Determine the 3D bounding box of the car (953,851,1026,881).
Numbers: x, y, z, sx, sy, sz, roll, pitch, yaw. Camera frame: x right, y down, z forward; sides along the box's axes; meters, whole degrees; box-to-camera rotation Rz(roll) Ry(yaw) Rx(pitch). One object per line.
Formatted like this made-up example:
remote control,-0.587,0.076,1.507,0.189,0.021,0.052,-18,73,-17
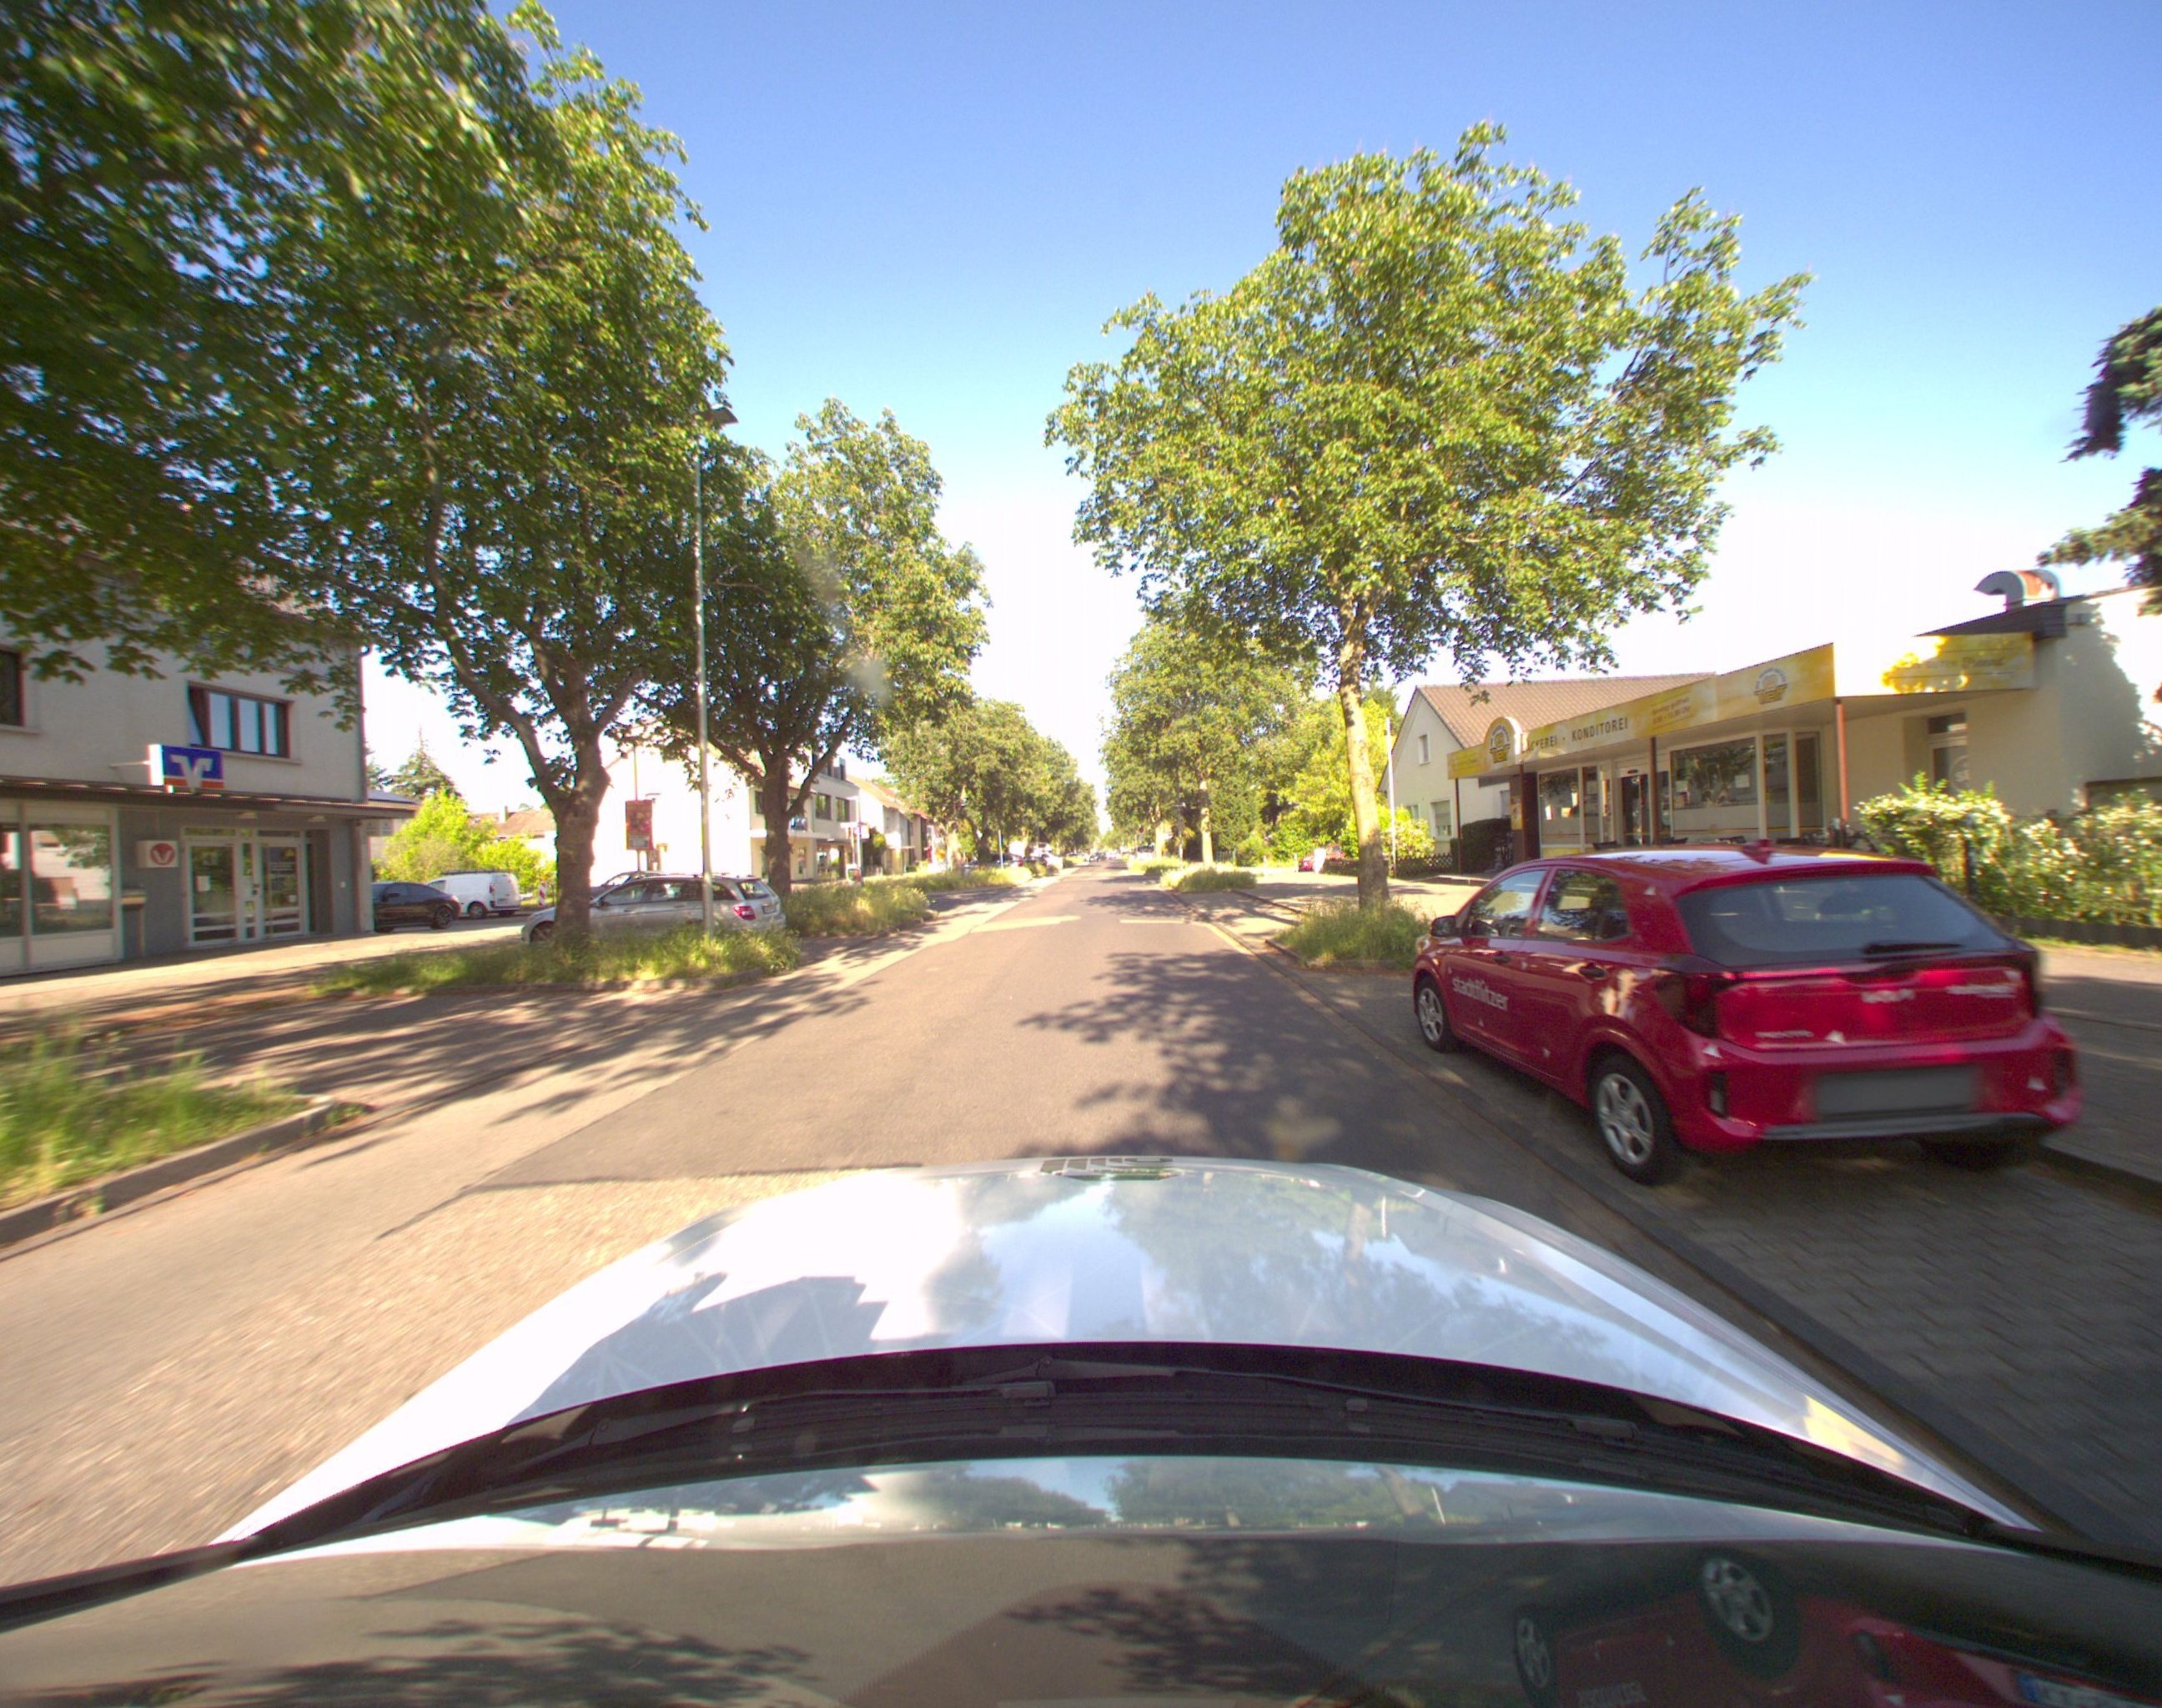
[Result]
car,-5.909,0.751,52.904,4.535,1.765,1.998,-1,2,-3

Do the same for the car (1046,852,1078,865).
car,-2.241,0.558,97.555,3.683,1.446,1.667,-1,0,5

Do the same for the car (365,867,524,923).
car,-24.967,1.576,32.075,4.543,1.927,1.999,-1,2,-2

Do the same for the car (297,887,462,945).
car,-19.683,1.701,23.060,1.535,1.237,3.512,-1,2,1

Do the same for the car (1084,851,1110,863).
car,2.393,0.410,122.253,1.974,1.643,4.026,0,2,35

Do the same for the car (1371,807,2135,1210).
car,3.324,0.617,5.155,1.690,1.479,3.891,-4,0,3

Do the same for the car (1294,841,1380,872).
car,14.329,0.120,45.752,4.270,1.609,2.002,-1,2,2

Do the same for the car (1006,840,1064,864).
car,-4.514,-0.217,80.719,5.480,2.247,2.517,-1,2,0

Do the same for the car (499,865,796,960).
car,-7.977,1.043,15.295,4.537,1.511,1.842,-1,2,1

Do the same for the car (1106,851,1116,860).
car,6.110,0.371,166.004,1.796,1.705,4.001,-1,2,1

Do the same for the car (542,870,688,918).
car,-18.333,1.545,32.213,4.543,1.617,1.999,-1,2,-2

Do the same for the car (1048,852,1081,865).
car,-1.881,0.539,94.126,3.683,1.446,1.667,-1,0,5

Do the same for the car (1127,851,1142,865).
car,7.136,0.512,109.475,1.895,1.774,4.304,-1,0,3

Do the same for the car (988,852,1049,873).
car,-4.470,0.583,58.932,4.277,1.315,1.907,-1,2,-3

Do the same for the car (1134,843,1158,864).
car,5.647,-0.068,71.309,1.895,1.774,4.304,-1,0,3
